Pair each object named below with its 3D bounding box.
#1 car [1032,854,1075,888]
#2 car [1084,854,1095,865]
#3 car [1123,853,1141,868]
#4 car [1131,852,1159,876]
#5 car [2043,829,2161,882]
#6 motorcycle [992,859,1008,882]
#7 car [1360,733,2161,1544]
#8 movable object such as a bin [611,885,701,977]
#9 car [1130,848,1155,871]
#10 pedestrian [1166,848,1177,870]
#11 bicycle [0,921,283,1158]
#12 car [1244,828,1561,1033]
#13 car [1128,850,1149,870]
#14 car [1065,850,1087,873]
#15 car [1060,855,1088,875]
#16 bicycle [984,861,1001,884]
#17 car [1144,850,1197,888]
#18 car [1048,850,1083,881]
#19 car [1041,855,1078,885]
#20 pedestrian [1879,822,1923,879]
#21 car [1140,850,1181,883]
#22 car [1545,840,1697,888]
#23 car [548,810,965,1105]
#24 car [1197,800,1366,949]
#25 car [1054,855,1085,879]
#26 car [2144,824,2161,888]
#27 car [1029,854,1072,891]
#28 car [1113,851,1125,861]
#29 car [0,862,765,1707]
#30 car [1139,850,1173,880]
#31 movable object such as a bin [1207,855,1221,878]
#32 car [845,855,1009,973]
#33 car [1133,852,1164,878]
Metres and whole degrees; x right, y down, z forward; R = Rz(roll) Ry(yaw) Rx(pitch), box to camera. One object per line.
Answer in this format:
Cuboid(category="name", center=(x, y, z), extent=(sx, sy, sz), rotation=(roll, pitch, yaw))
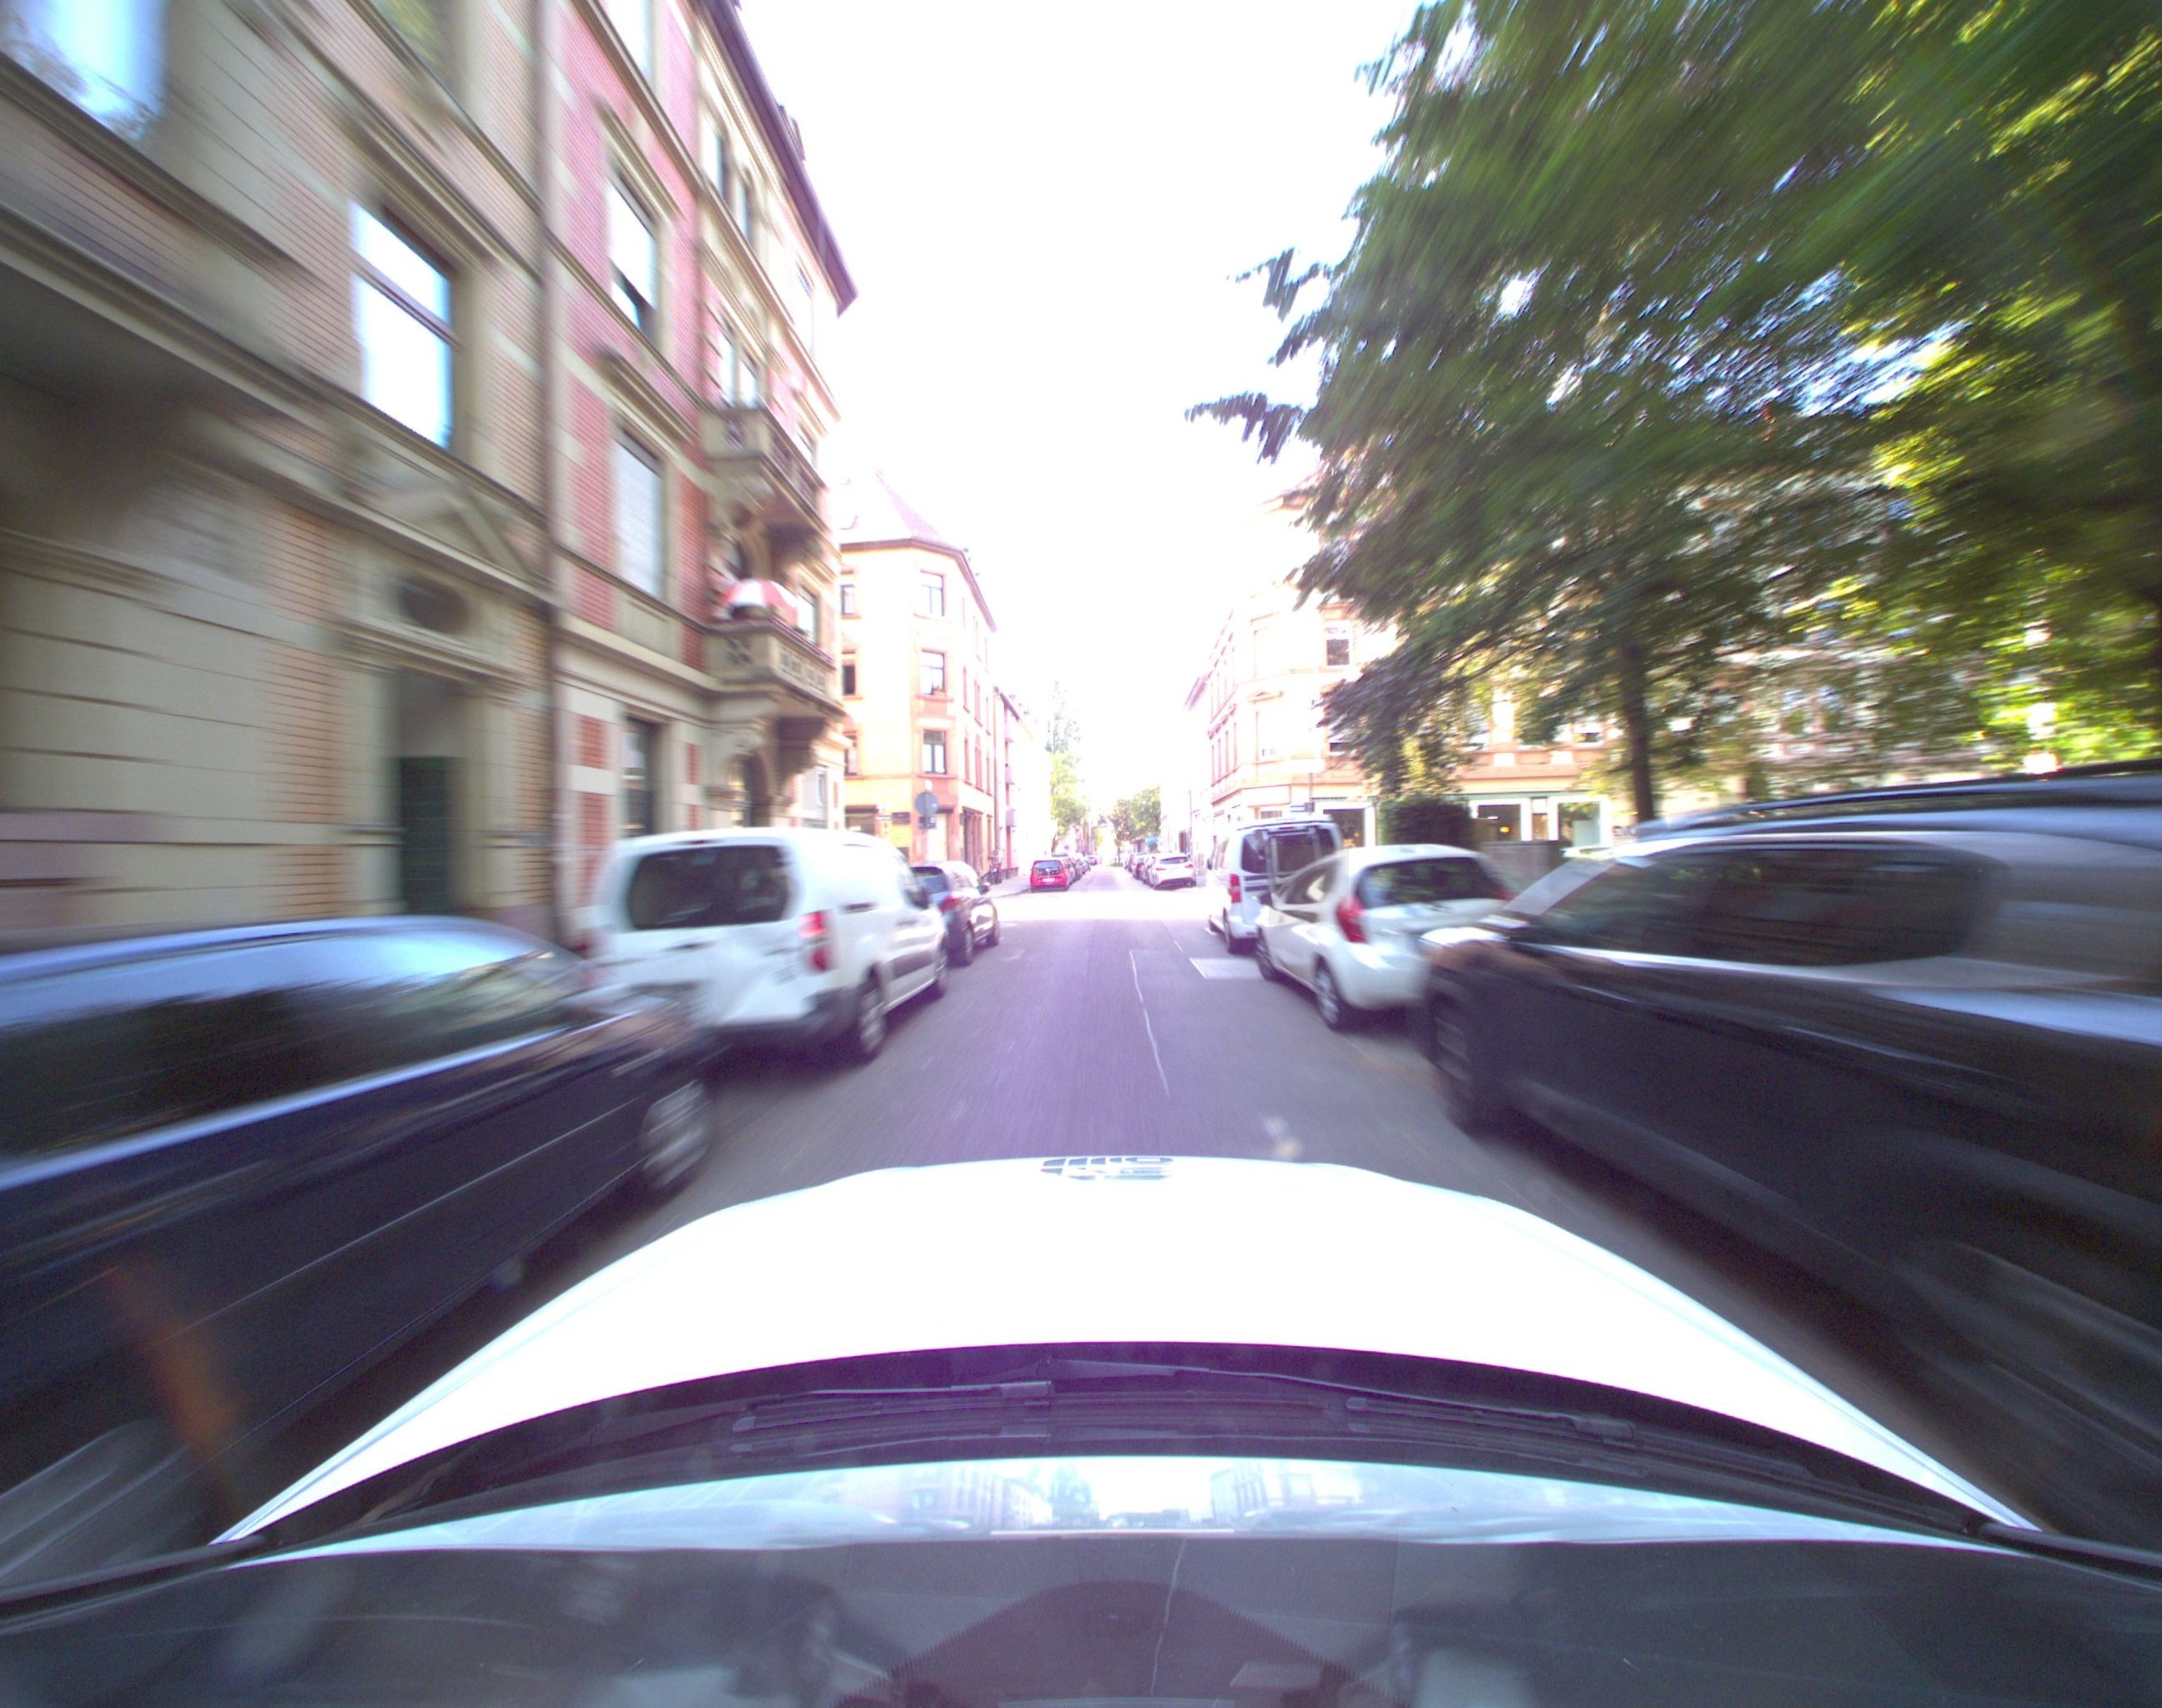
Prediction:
Cuboid(category="car", center=(-1.350, 0.808, 41.575), extent=(1.688, 1.521, 4.100), rotation=(-4, 0, 4))
Cuboid(category="car", center=(1.313, 0.821, 125.069), extent=(1.670, 1.487, 4.095), rotation=(-4, 0, 1))
Cuboid(category="car", center=(5.473, 0.654, 87.480), extent=(1.670, 1.487, 4.095), rotation=(-4, 0, 1))
Cuboid(category="car", center=(4.401, 0.671, 56.285), extent=(1.670, 1.506, 3.938), rotation=(-4, 0, 1))
Cuboid(category="car", center=(32.130, 0.057, 24.563), extent=(3.858, 1.553, 1.637), rotation=(-1, -2, 8))
Cuboid(category="motorcycle", center=(-4.290, 0.859, 43.042), extent=(0.531, 1.206, 1.910), rotation=(-2, 0, 2))
Cuboid(category="car", center=(2.852, 0.509, 3.158), extent=(1.736, 1.603, 4.259), rotation=(-6, -1, -3))
Cuboid(category="movable object such as a bin", center=(-5.220, 0.924, 10.046), extent=(0.635, 1.041, 0.856), rotation=(0, 0, 1))
Cuboid(category="car", center=(5.085, 0.451, 67.945), extent=(1.670, 1.627, 4.251), rotation=(-6, 0, 1))
Cuboid(category="pedestrian", center=(6.936, 0.385, 62.222), extent=(0.683, 1.660, 0.718), rotation=(-2, 0, 1))
Cuboid(category="bicycle", center=(-5.536, 0.960, 4.556), extent=(0.569, 1.041, 1.547), rotation=(0, 0, 2))
Cuboid(category="car", center=(2.917, 0.603, 8.334), extent=(1.713, 1.571, 3.828), rotation=(-2, 0, 0))
Cuboid(category="car", center=(5.135, 0.555, 73.293), extent=(1.669, 1.681, 4.097), rotation=(-4, -1, 3))
Cuboid(category="car", center=(-0.407, 0.641, 71.056), extent=(1.759, 1.785, 4.040), rotation=(-4, 0, 1))
Cuboid(category="car", center=(-0.555, 0.855, 66.525), extent=(1.664, 1.486, 4.000), rotation=(-4, 0, 7))
Cuboid(category="bicycle", center=(-4.390, 0.907, 40.624), extent=(0.531, 1.074, 1.892), rotation=(2, 0, 2))
Cuboid(category="car", center=(3.926, 0.620, 36.230), extent=(1.739, 1.506, 4.356), rotation=(-4, 0, -1))
Cuboid(category="car", center=(-0.960, 0.699, 51.770), extent=(1.736, 1.811, 4.677), rotation=(-4, 0, 4))
Cuboid(category="car", center=(-1.177, 0.852, 46.396), extent=(1.649, 1.521, 3.948), rotation=(-4, 0, 4))
Cuboid(category="pedestrian", center=(28.400, -0.136, 28.213), extent=(0.712, 1.920, 0.801), rotation=(-1, 2, 1))
Cuboid(category="car", center=(4.011, 0.611, 41.617), extent=(1.738, 1.506, 4.022), rotation=(-4, 0, 1))
Cuboid(category="car", center=(17.628, 0.339, 26.740), extent=(3.832, 1.473, 1.637), rotation=(-1, -2, 8))
Cuboid(category="car", center=(-2.438, 0.667, 7.581), extent=(1.824, 1.811, 4.573), rotation=(-4, 0, 2))
Cuboid(category="car", center=(3.184, 0.287, 13.947), extent=(1.906, 1.998, 4.797), rotation=(-4, 0, 4))
Cuboid(category="car", center=(-0.778, 0.886, 57.101), extent=(1.736, 1.506, 4.350), rotation=(-4, 0, 4))
Cuboid(category="car", center=(29.544, 0.000, 20.302), extent=(3.510, 1.649, 1.637), rotation=(-1, -2, 8))
Cuboid(category="car", center=(-1.334, 0.817, 36.806), extent=(1.622, 1.481, 3.602), rotation=(-4, 0, 1))
Cuboid(category="car", center=(5.861, 0.303, 126.477), extent=(1.670, 1.487, 3.639), rotation=(-4, 0, 1))
Cuboid(category="car", center=(-2.702, 0.854, 2.746), extent=(1.688, 1.514, 3.971), rotation=(-4, 0, -1))
Cuboid(category="car", center=(4.250, 0.593, 46.695), extent=(1.592, 1.506, 4.185), rotation=(-4, 0, 1))
Cuboid(category="movable object such as a bin", center=(6.325, 0.602, 38.655), extent=(0.512, 1.039, 0.620), rotation=(-3, 0, 2))
Cuboid(category="car", center=(-2.266, 0.811, 13.011), extent=(1.686, 1.481, 3.974), rotation=(-4, 0, 1))
Cuboid(category="car", center=(4.214, 0.656, 51.412), extent=(1.670, 1.506, 3.938), rotation=(-4, 0, 1))
